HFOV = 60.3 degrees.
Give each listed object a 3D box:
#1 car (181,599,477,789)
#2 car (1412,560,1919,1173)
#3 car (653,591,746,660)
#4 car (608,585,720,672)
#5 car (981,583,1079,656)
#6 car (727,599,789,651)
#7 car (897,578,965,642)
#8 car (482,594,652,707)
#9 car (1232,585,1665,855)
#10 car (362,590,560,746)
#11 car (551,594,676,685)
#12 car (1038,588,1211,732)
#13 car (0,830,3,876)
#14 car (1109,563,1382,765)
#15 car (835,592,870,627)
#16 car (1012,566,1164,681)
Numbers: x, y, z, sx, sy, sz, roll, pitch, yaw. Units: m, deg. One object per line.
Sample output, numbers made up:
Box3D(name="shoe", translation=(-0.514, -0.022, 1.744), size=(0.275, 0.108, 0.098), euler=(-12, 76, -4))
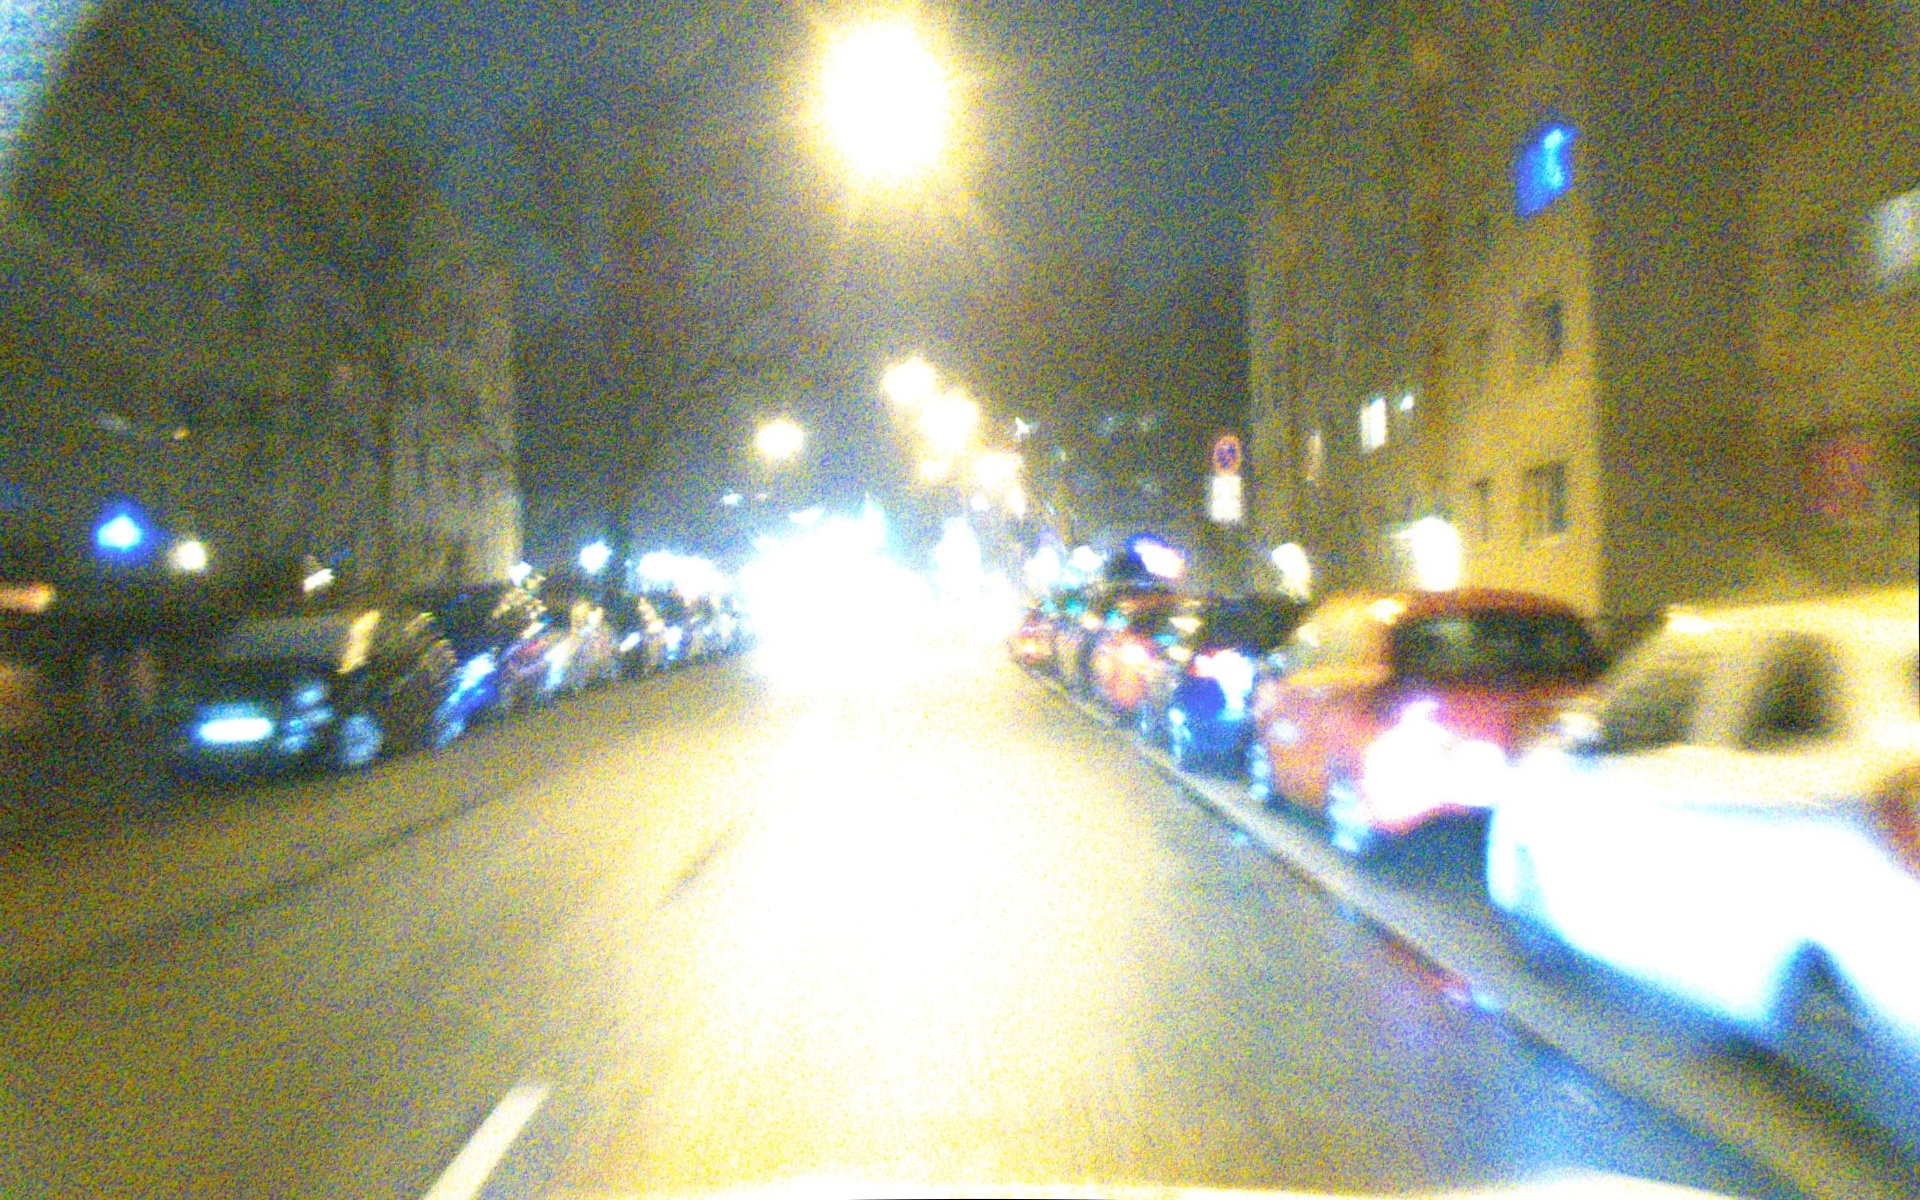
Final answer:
Box3D(name="car", translation=(-5.775, 0.787, 15.537), size=(1.402, 1.485, 3.374), euler=(-4, 0, 0))
Box3D(name="car", translation=(3.091, 0.628, 5.737), size=(1.641, 1.513, 4.277), euler=(-2, 0, -3))
Box3D(name="car", translation=(-6.338, 0.579, 40.622), size=(1.566, 1.512, 4.273), euler=(-4, 0, -1))
Box3D(name="car", translation=(-6.180, 0.552, 34.935), size=(1.566, 1.633, 4.257), euler=(-4, 0, -1))
Box3D(name="car", translation=(1.484, 0.395, 36.749), size=(1.786, 1.446, 4.486), euler=(-2, 0, -2))
Box3D(name="car", translation=(-6.849, 0.823, 56.388), size=(1.566, 1.591, 4.379), euler=(-4, 0, -1))
Box3D(name="car", translation=(-0.975, 0.312, 54.349), size=(2.124, 2.006, 4.300), euler=(-1, 0, -2))
Box3D(name="car", translation=(-5.947, 0.698, 25.570), size=(1.604, 1.482, 4.931), euler=(-4, 0, -3))
Box3D(name="car", translation=(2.806, 0.605, 10.284), size=(1.427, 1.329, 3.626), euler=(-2, 0, -3))
Box3D(name="car", translation=(-5.976, 0.752, 20.141), size=(1.445, 1.648, 3.372), euler=(-4, 0, -3))
Box3D(name="car", translation=(-6.283, 0.666, 30.367), size=(1.566, 1.456, 4.002), euler=(-4, 0, -3))
Box3D(name="car", translation=(1.970, 0.663, 20.958), size=(1.787, 1.575, 4.353), euler=(-2, 0, 1))
Box3D(name="car", translation=(-5.914, 0.749, 6.769), size=(1.713, 1.625, 4.385), euler=(-4, 0, -6))
Box3D(name="car", translation=(2.535, 0.501, 15.890), size=(1.718, 1.575, 4.977), euler=(-2, 0, 0))
Box3D(name="car", translation=(-6.867, 0.572, 105.230), size=(1.995, 1.987, 5.195), euler=(-3, 1, -5))
Box3D(name="car", translation=(1.890, 0.323, 25.819), size=(1.763, 1.557, 5.050), euler=(-2, 0, -2))
